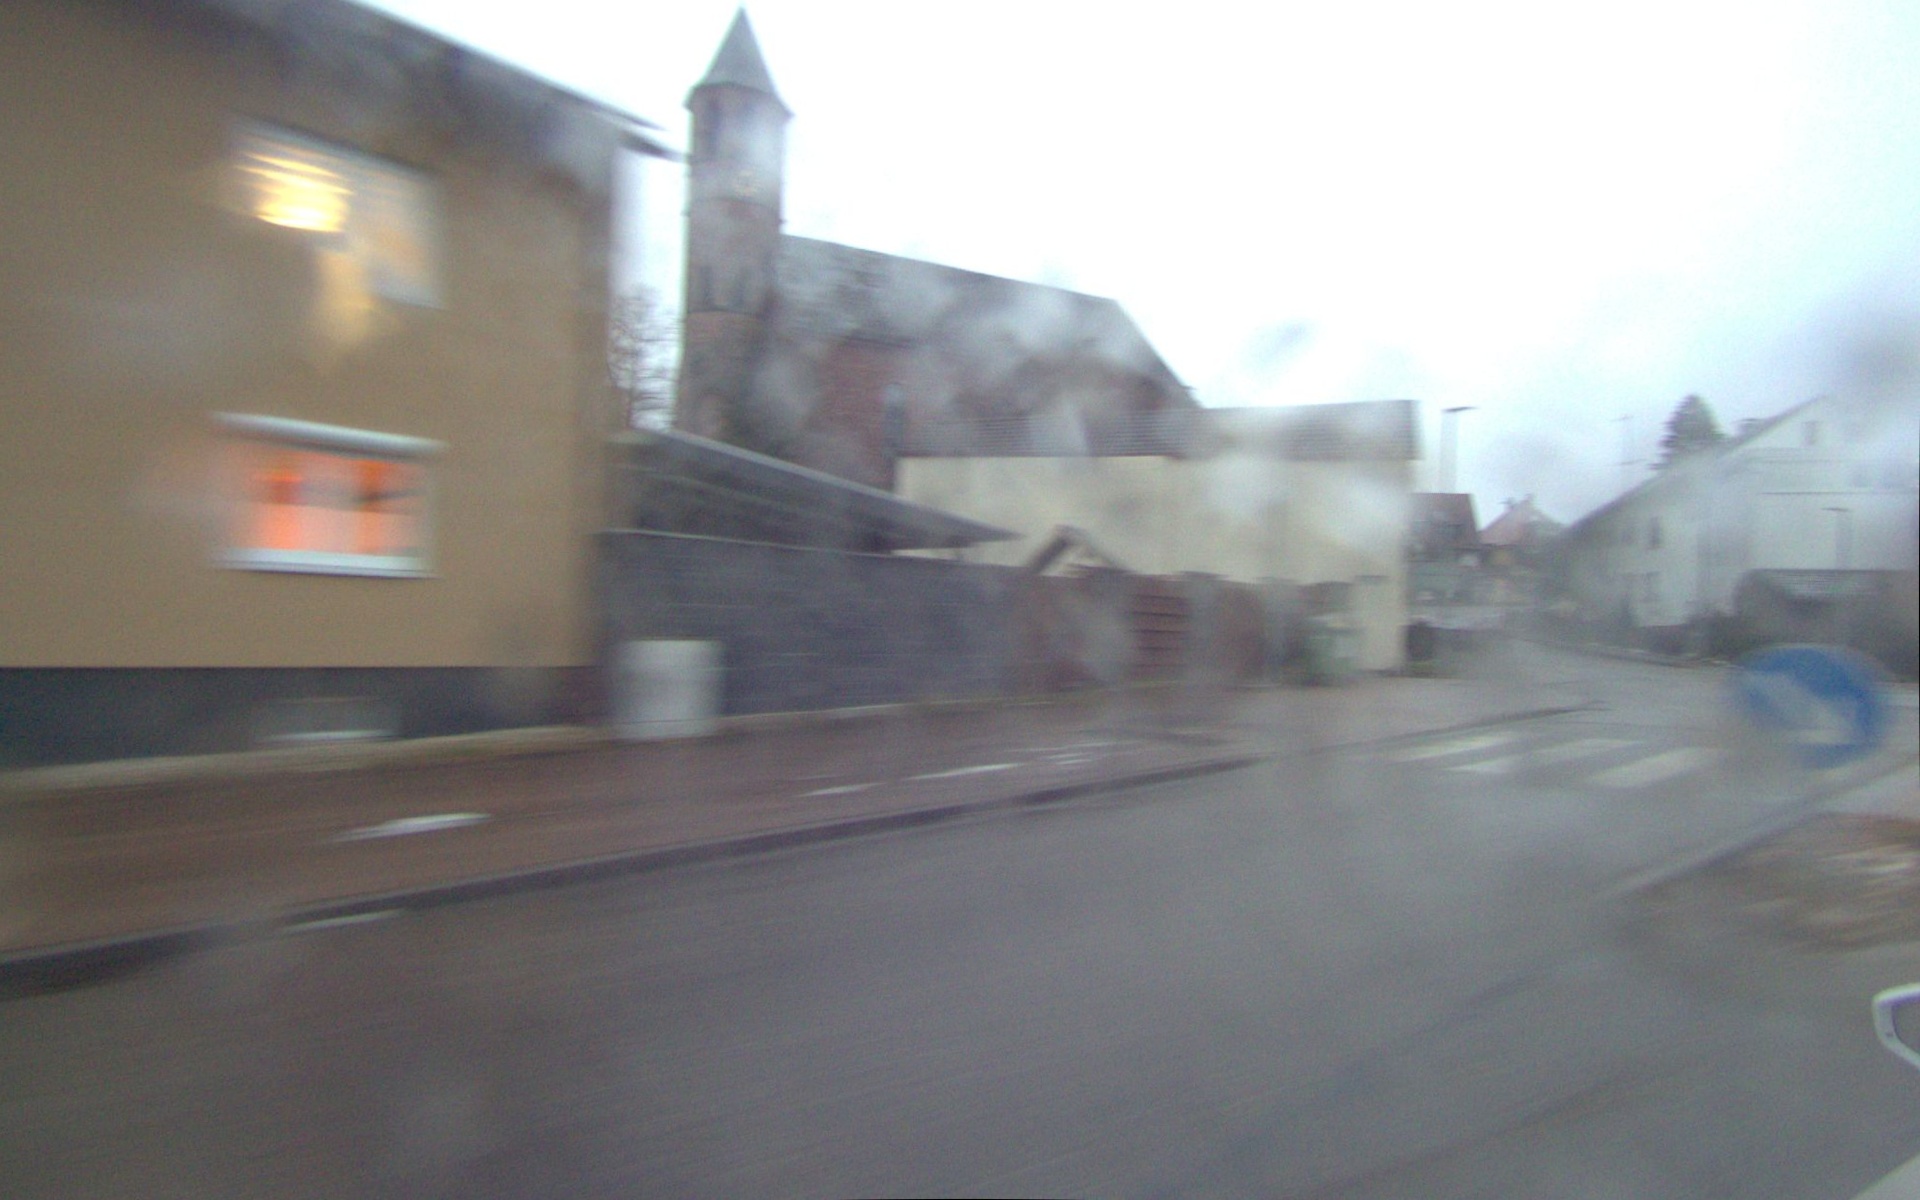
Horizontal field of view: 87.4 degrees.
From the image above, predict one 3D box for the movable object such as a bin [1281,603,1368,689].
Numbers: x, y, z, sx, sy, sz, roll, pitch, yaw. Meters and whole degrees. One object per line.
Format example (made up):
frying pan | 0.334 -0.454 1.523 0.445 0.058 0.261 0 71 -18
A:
movable object such as a bin | 6.891 0.848 19.002 1.279 1.564 1.086 1 -1 -42
